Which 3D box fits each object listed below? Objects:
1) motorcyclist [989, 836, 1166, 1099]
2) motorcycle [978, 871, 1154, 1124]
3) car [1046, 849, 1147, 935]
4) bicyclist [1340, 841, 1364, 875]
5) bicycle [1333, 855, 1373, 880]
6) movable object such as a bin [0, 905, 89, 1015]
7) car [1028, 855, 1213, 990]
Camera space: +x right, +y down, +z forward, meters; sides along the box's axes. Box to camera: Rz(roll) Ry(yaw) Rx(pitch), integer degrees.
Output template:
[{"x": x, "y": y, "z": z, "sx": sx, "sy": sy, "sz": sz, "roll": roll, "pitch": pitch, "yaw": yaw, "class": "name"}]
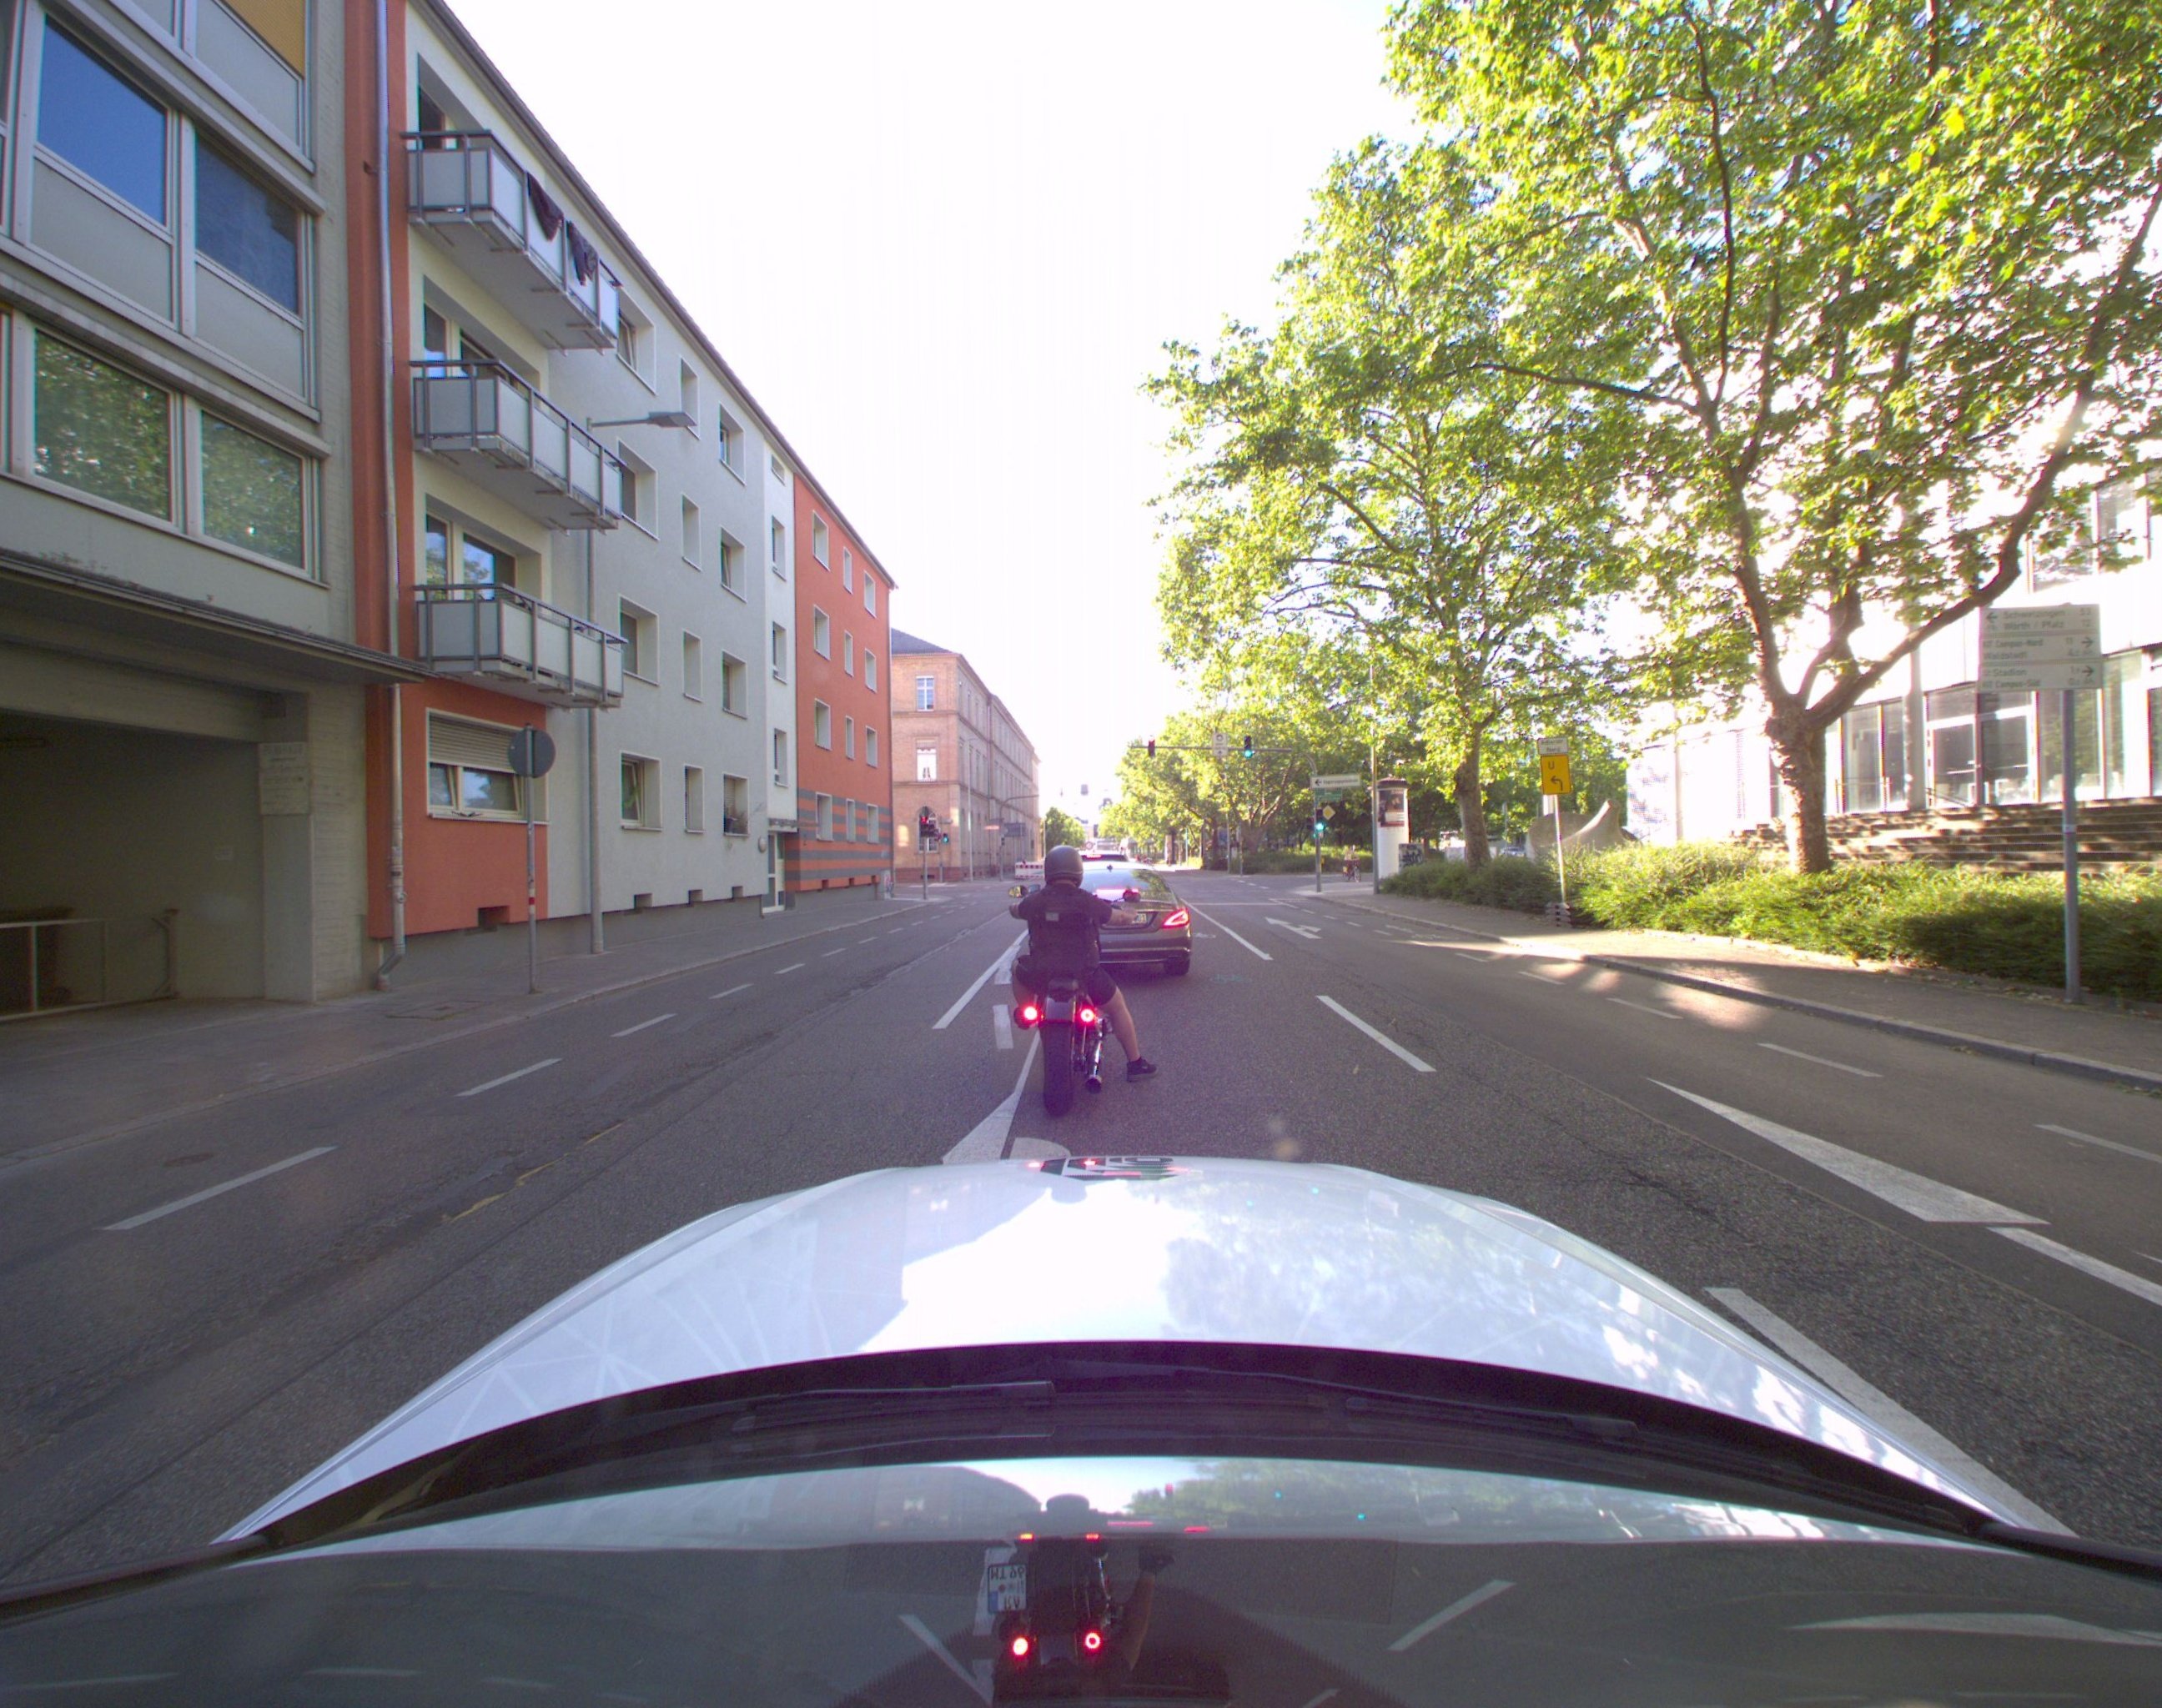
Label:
[{"x": -0.010, "y": 0.690, "z": 5.373, "sx": 1.057, "sy": 1.582, "sz": 0.908, "roll": 0, "pitch": -1, "yaw": 1, "class": "motorcyclist"}, {"x": -0.045, "y": 0.815, "z": 5.643, "sx": 0.958, "sy": 1.357, "sz": 2.321, "roll": 0, "pitch": -1, "yaw": 2, "class": "motorcycle"}, {"x": 0.264, "y": 0.698, "z": 16.878, "sx": 1.808, "sy": 1.536, "sz": 3.847, "roll": -1, "pitch": 0, "yaw": -1, "class": "car"}, {"x": 13.110, "y": 0.195, "z": 39.398, "sx": 0.718, "sy": 1.582, "sz": 0.930, "roll": 0, "pitch": -1, "yaw": -17, "class": "bicyclist"}, {"x": 13.113, "y": 0.645, "z": 39.346, "sx": 0.717, "sy": 1.172, "sz": 2.163, "roll": 0, "pitch": -1, "yaw": -17, "class": "bicycle"}, {"x": -11.329, "y": 1.101, "z": 8.630, "sx": 0.736, "sy": 1.074, "sz": 0.716, "roll": 0, "pitch": -1, "yaw": 2, "class": "movable object such as a bin"}, {"x": 0.316, "y": 0.760, "z": 11.205, "sx": 1.900, "sy": 1.441, "sz": 4.279, "roll": -1, "pitch": 0, "yaw": -6, "class": "car"}]
